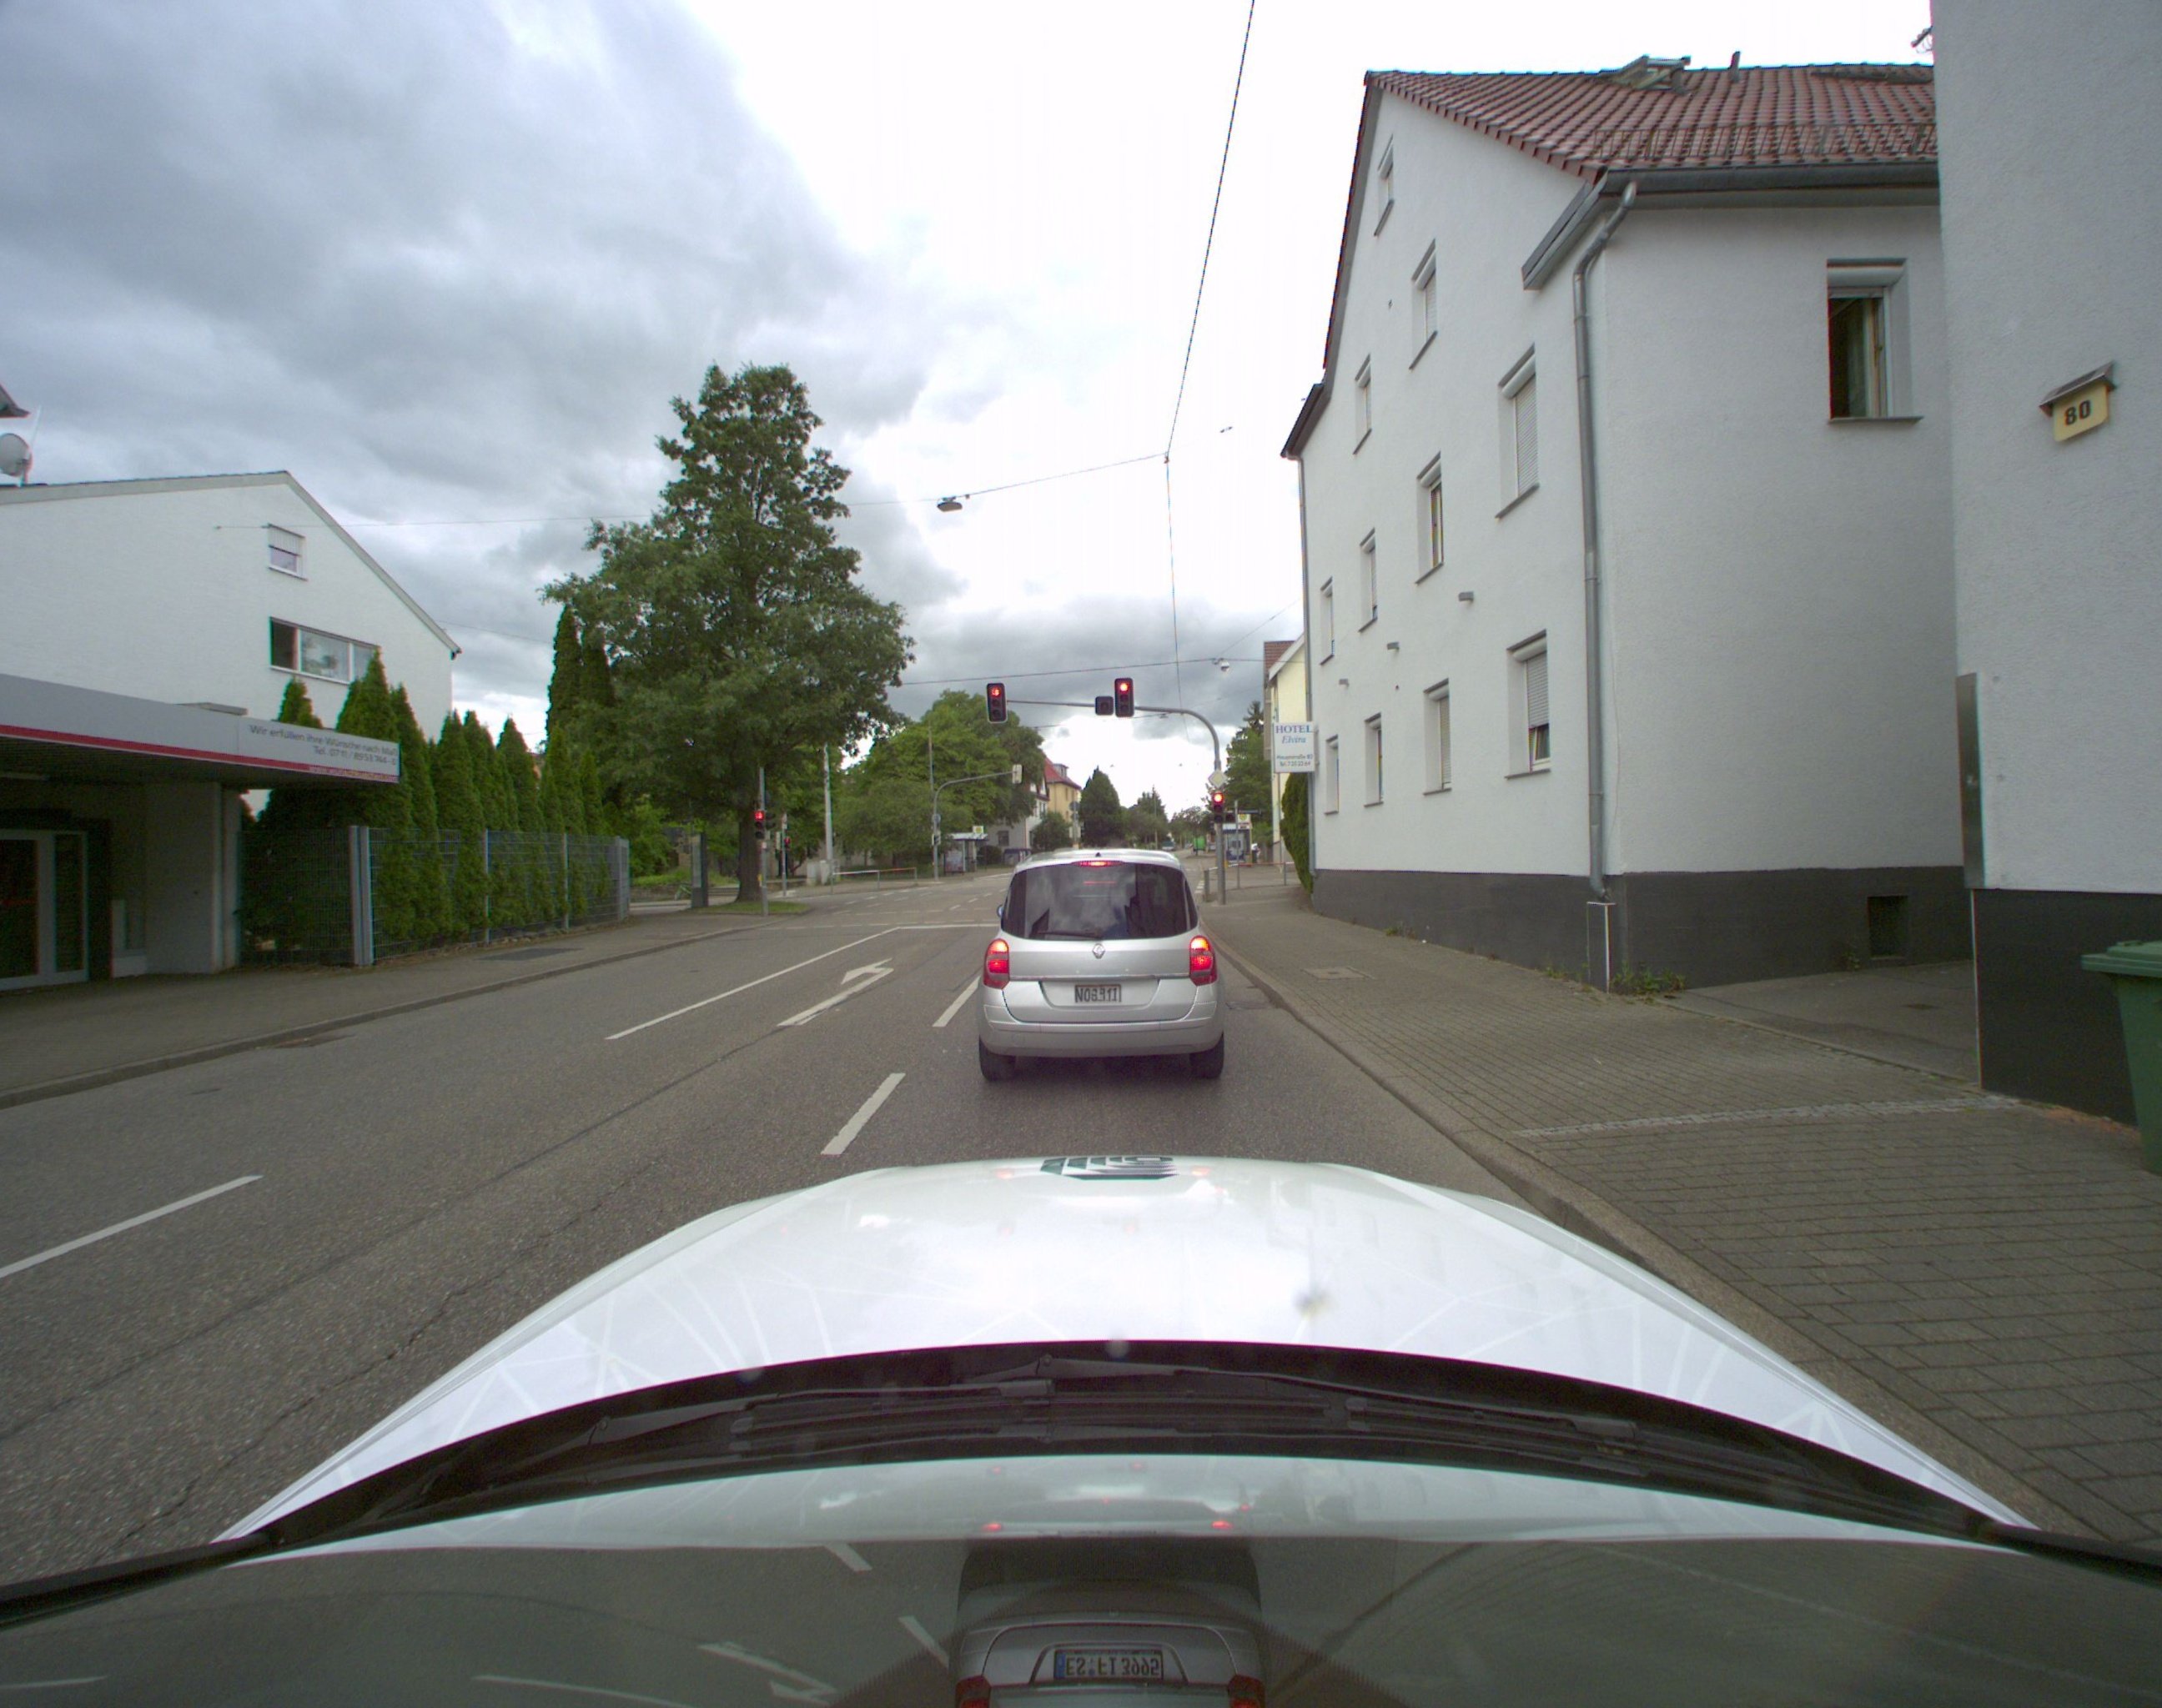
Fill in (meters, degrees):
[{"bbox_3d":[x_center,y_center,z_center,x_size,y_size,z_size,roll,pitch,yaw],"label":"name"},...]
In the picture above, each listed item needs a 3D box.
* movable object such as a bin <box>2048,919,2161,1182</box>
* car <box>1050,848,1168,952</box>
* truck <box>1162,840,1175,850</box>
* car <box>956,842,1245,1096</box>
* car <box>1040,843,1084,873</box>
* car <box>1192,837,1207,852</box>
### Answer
[{"bbox_3d":[4.338,0.755,3.156,0.538,0.941,0.487,-4,-1,2],"label":"movable object such as a bin"},{"bbox_3d":[0.467,0.690,14.030,1.748,1.530,3.798,-1,0,1],"label":"car"},{"bbox_3d":[17.903,-1.768,166.649,2.088,2.013,5.766,-1,0,11],"label":"truck"},{"bbox_3d":[0.171,0.710,6.986,1.748,1.530,4.001,-1,0,1],"label":"car"},{"bbox_3d":[-1.213,0.247,54.670,1.913,1.773,4.013,-5,-1,12],"label":"car"},{"bbox_3d":[20.500,-1.684,140.323,2.044,2.512,5.616,-1,0,14],"label":"car"}]
